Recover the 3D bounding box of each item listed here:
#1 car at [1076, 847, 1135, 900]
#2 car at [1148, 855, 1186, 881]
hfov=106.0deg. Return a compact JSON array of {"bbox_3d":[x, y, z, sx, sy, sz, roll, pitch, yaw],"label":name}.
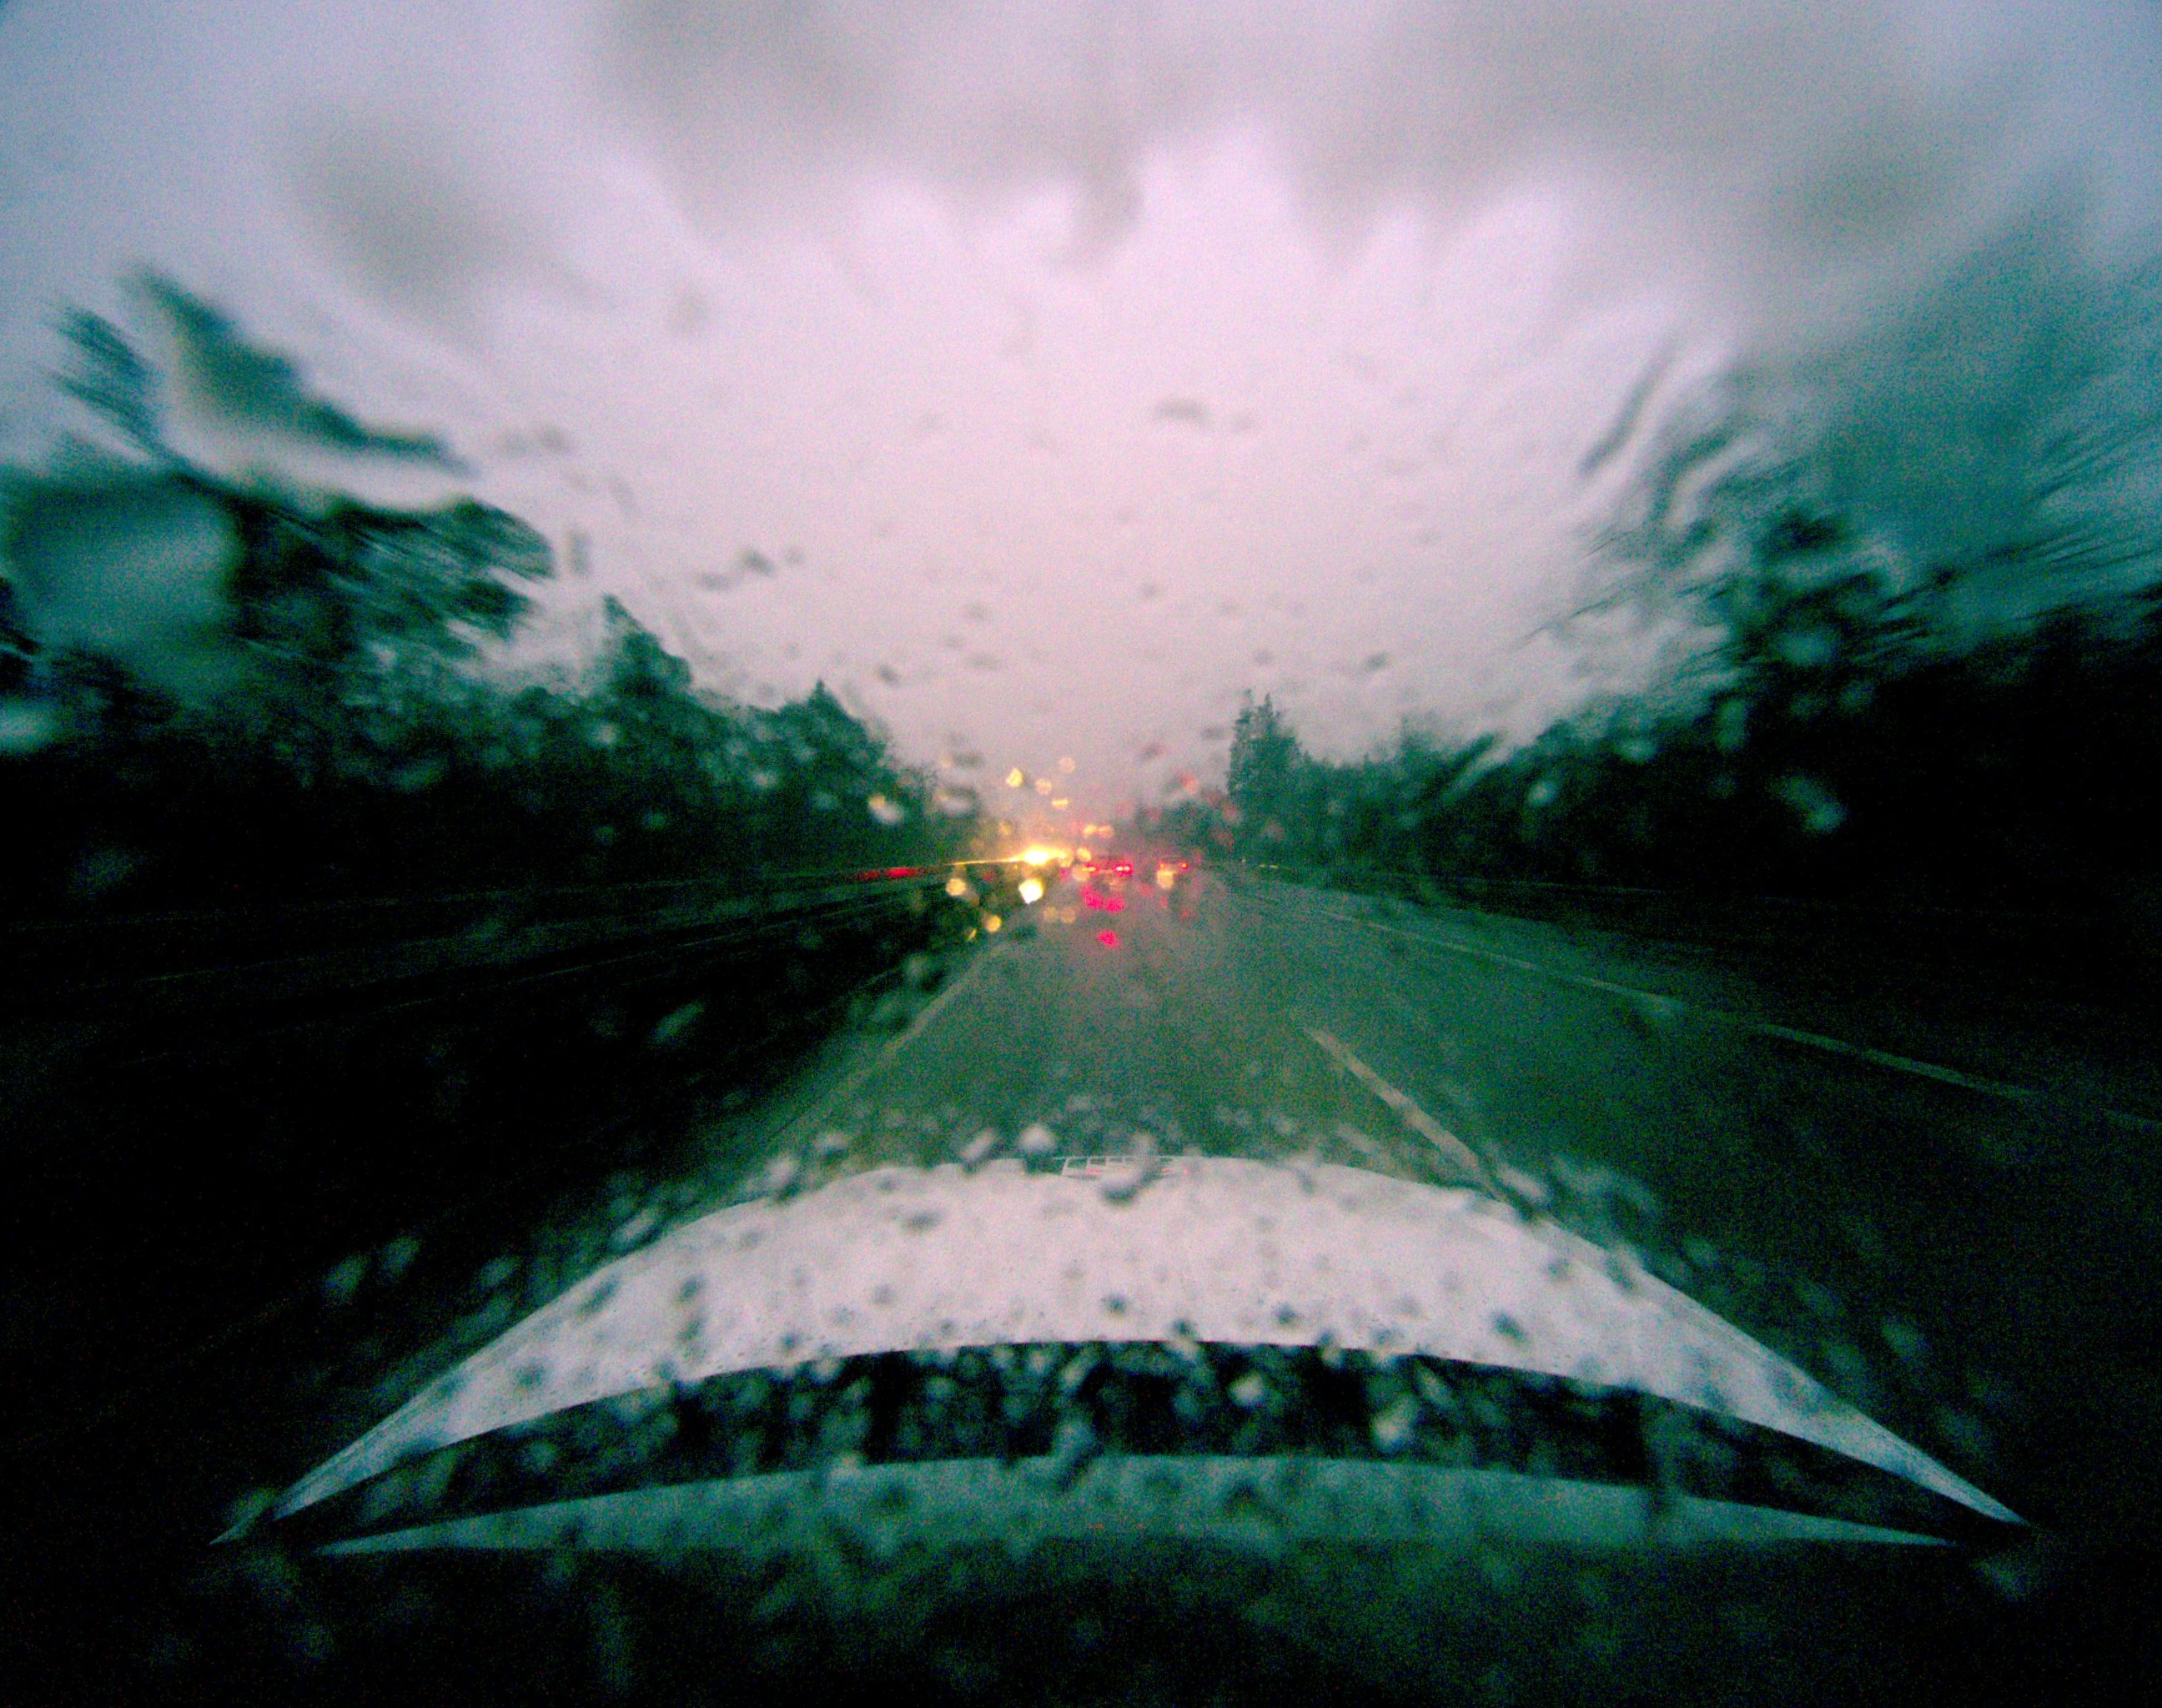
[{"bbox_3d":[0.957,0.651,29.969,1.978,1.767,4.176,-1,0,3],"label":"car"},{"bbox_3d":[4.978,0.778,47.549,1.774,1.437,3.536,-1,0,0],"label":"car"}]
